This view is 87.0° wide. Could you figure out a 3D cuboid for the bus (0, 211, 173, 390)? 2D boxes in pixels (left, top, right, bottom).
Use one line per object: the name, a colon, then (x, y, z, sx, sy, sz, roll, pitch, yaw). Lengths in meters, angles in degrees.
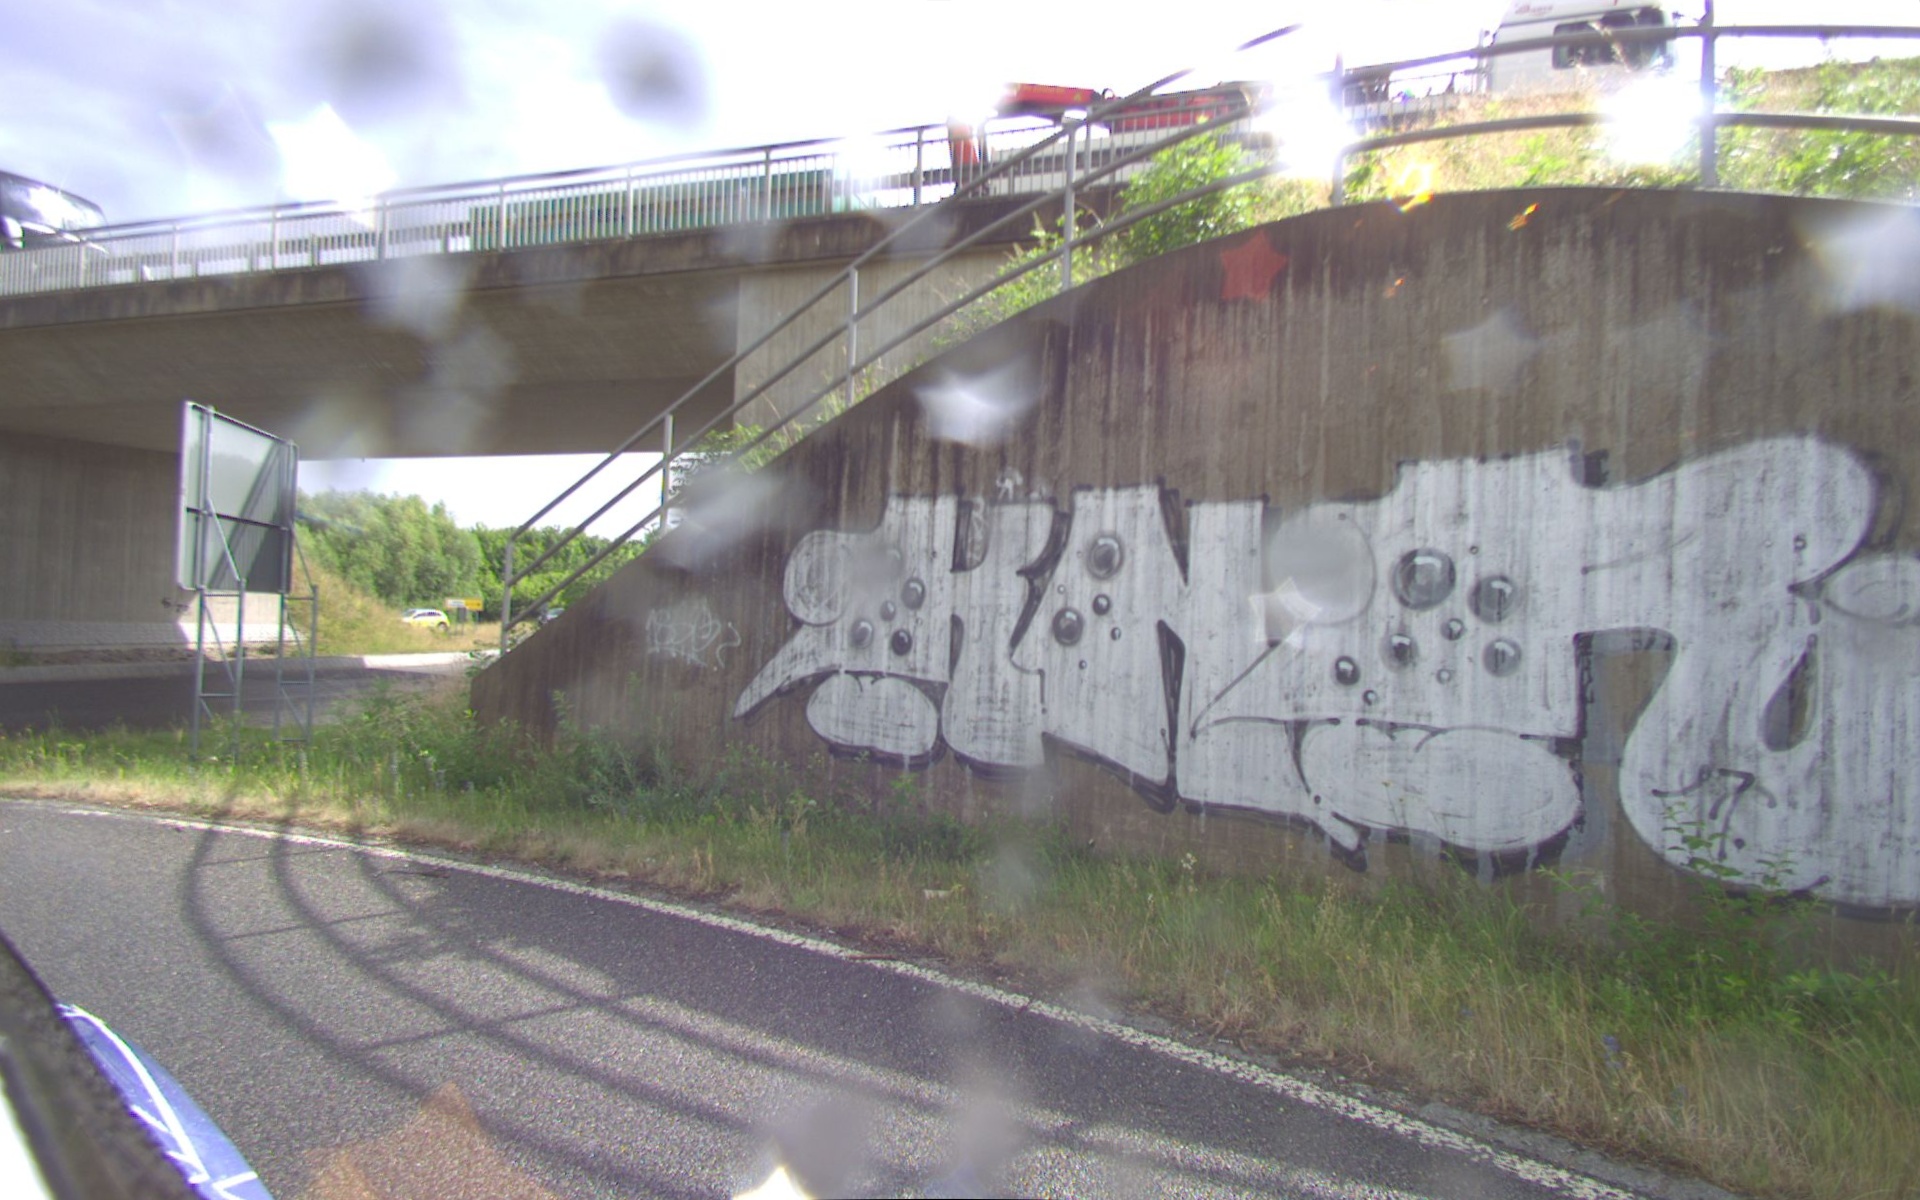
bus: (-25.549, -6.710, 23.573, 14.310, 3.103, 2.604, 2, 0, 11)
